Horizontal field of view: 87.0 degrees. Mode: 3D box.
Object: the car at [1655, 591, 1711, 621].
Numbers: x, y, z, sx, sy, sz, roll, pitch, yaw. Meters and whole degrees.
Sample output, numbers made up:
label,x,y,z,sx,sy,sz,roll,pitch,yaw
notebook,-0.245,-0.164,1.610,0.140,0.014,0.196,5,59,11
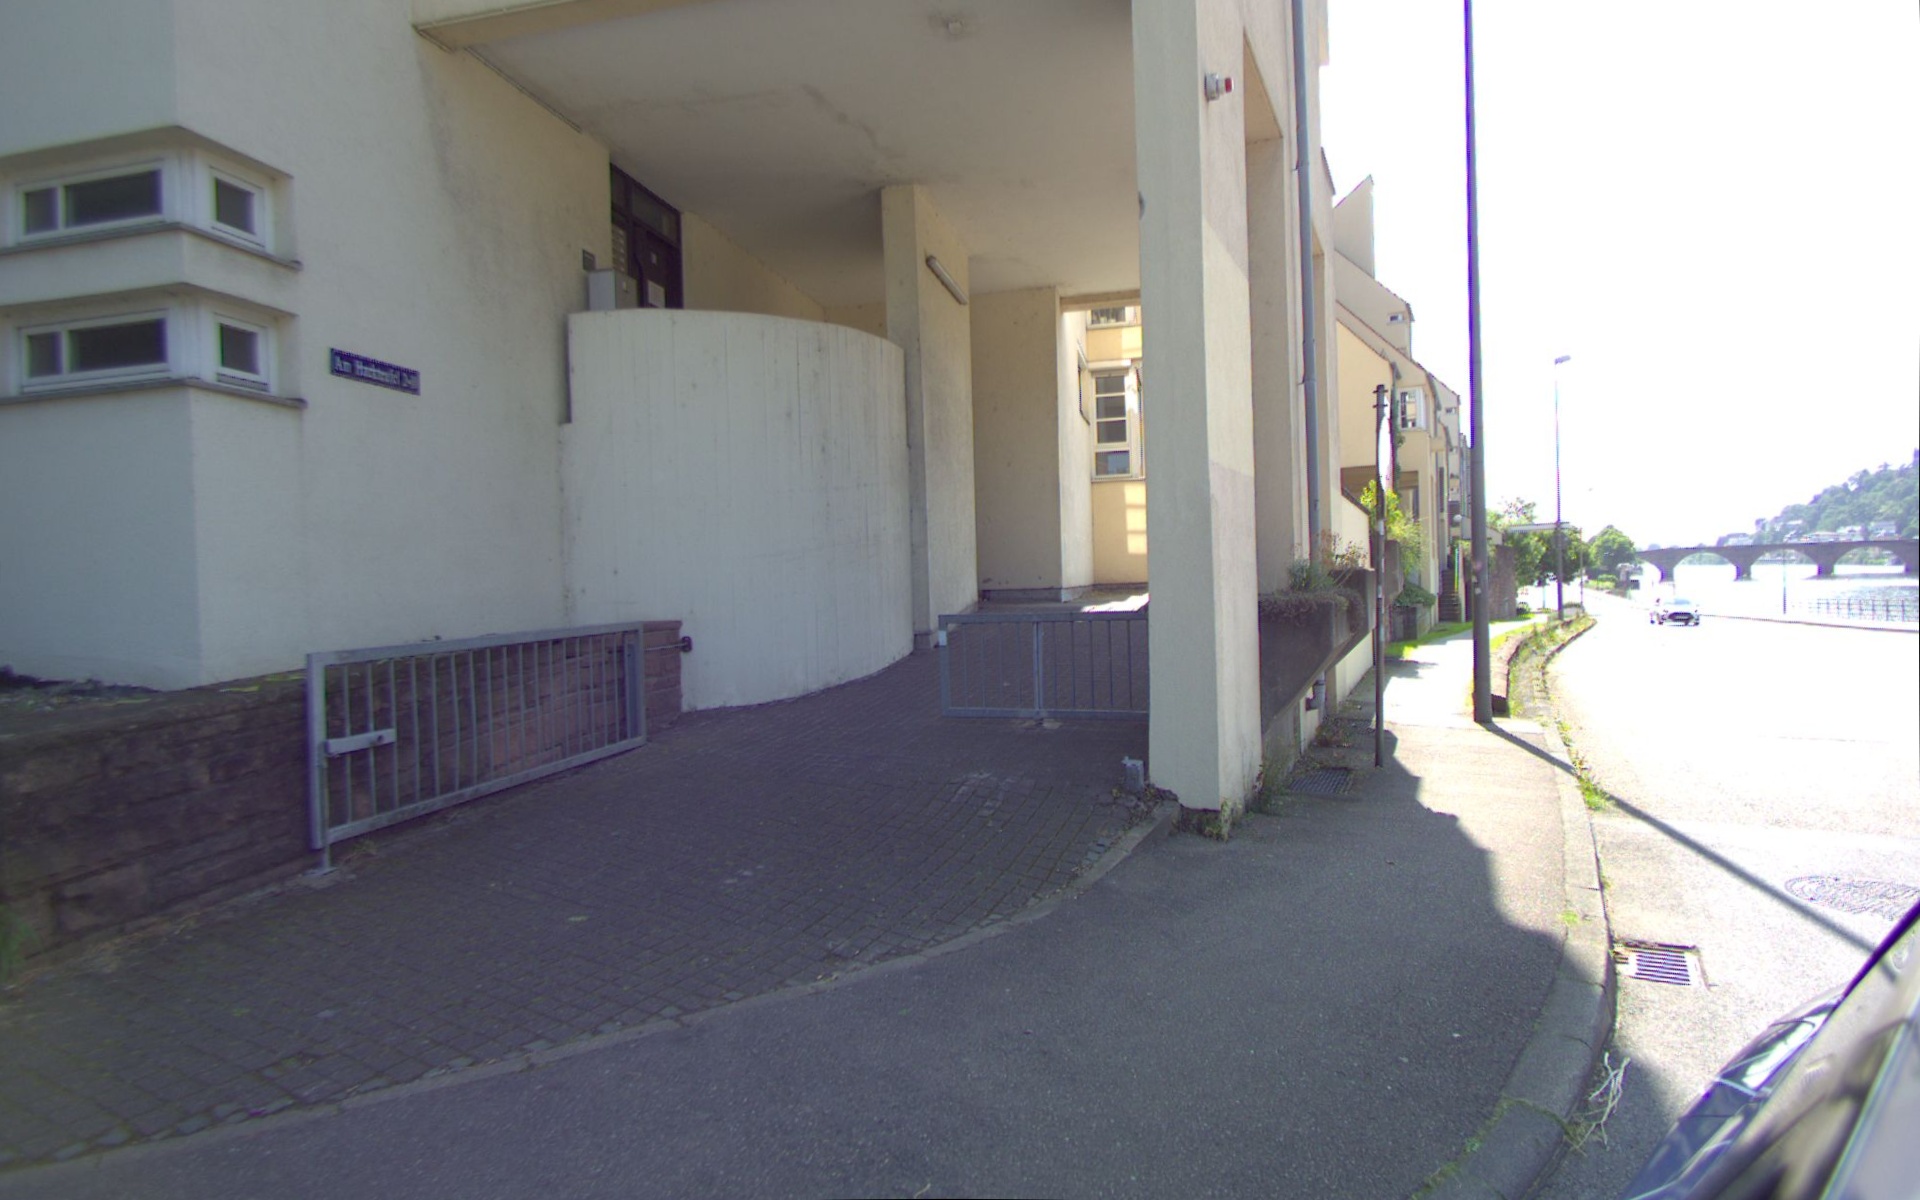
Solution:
label,x,y,z,sx,sy,sz,roll,pitch,yaw
car,37.033,0.276,51.930,1.984,1.460,3.957,0,1,31
